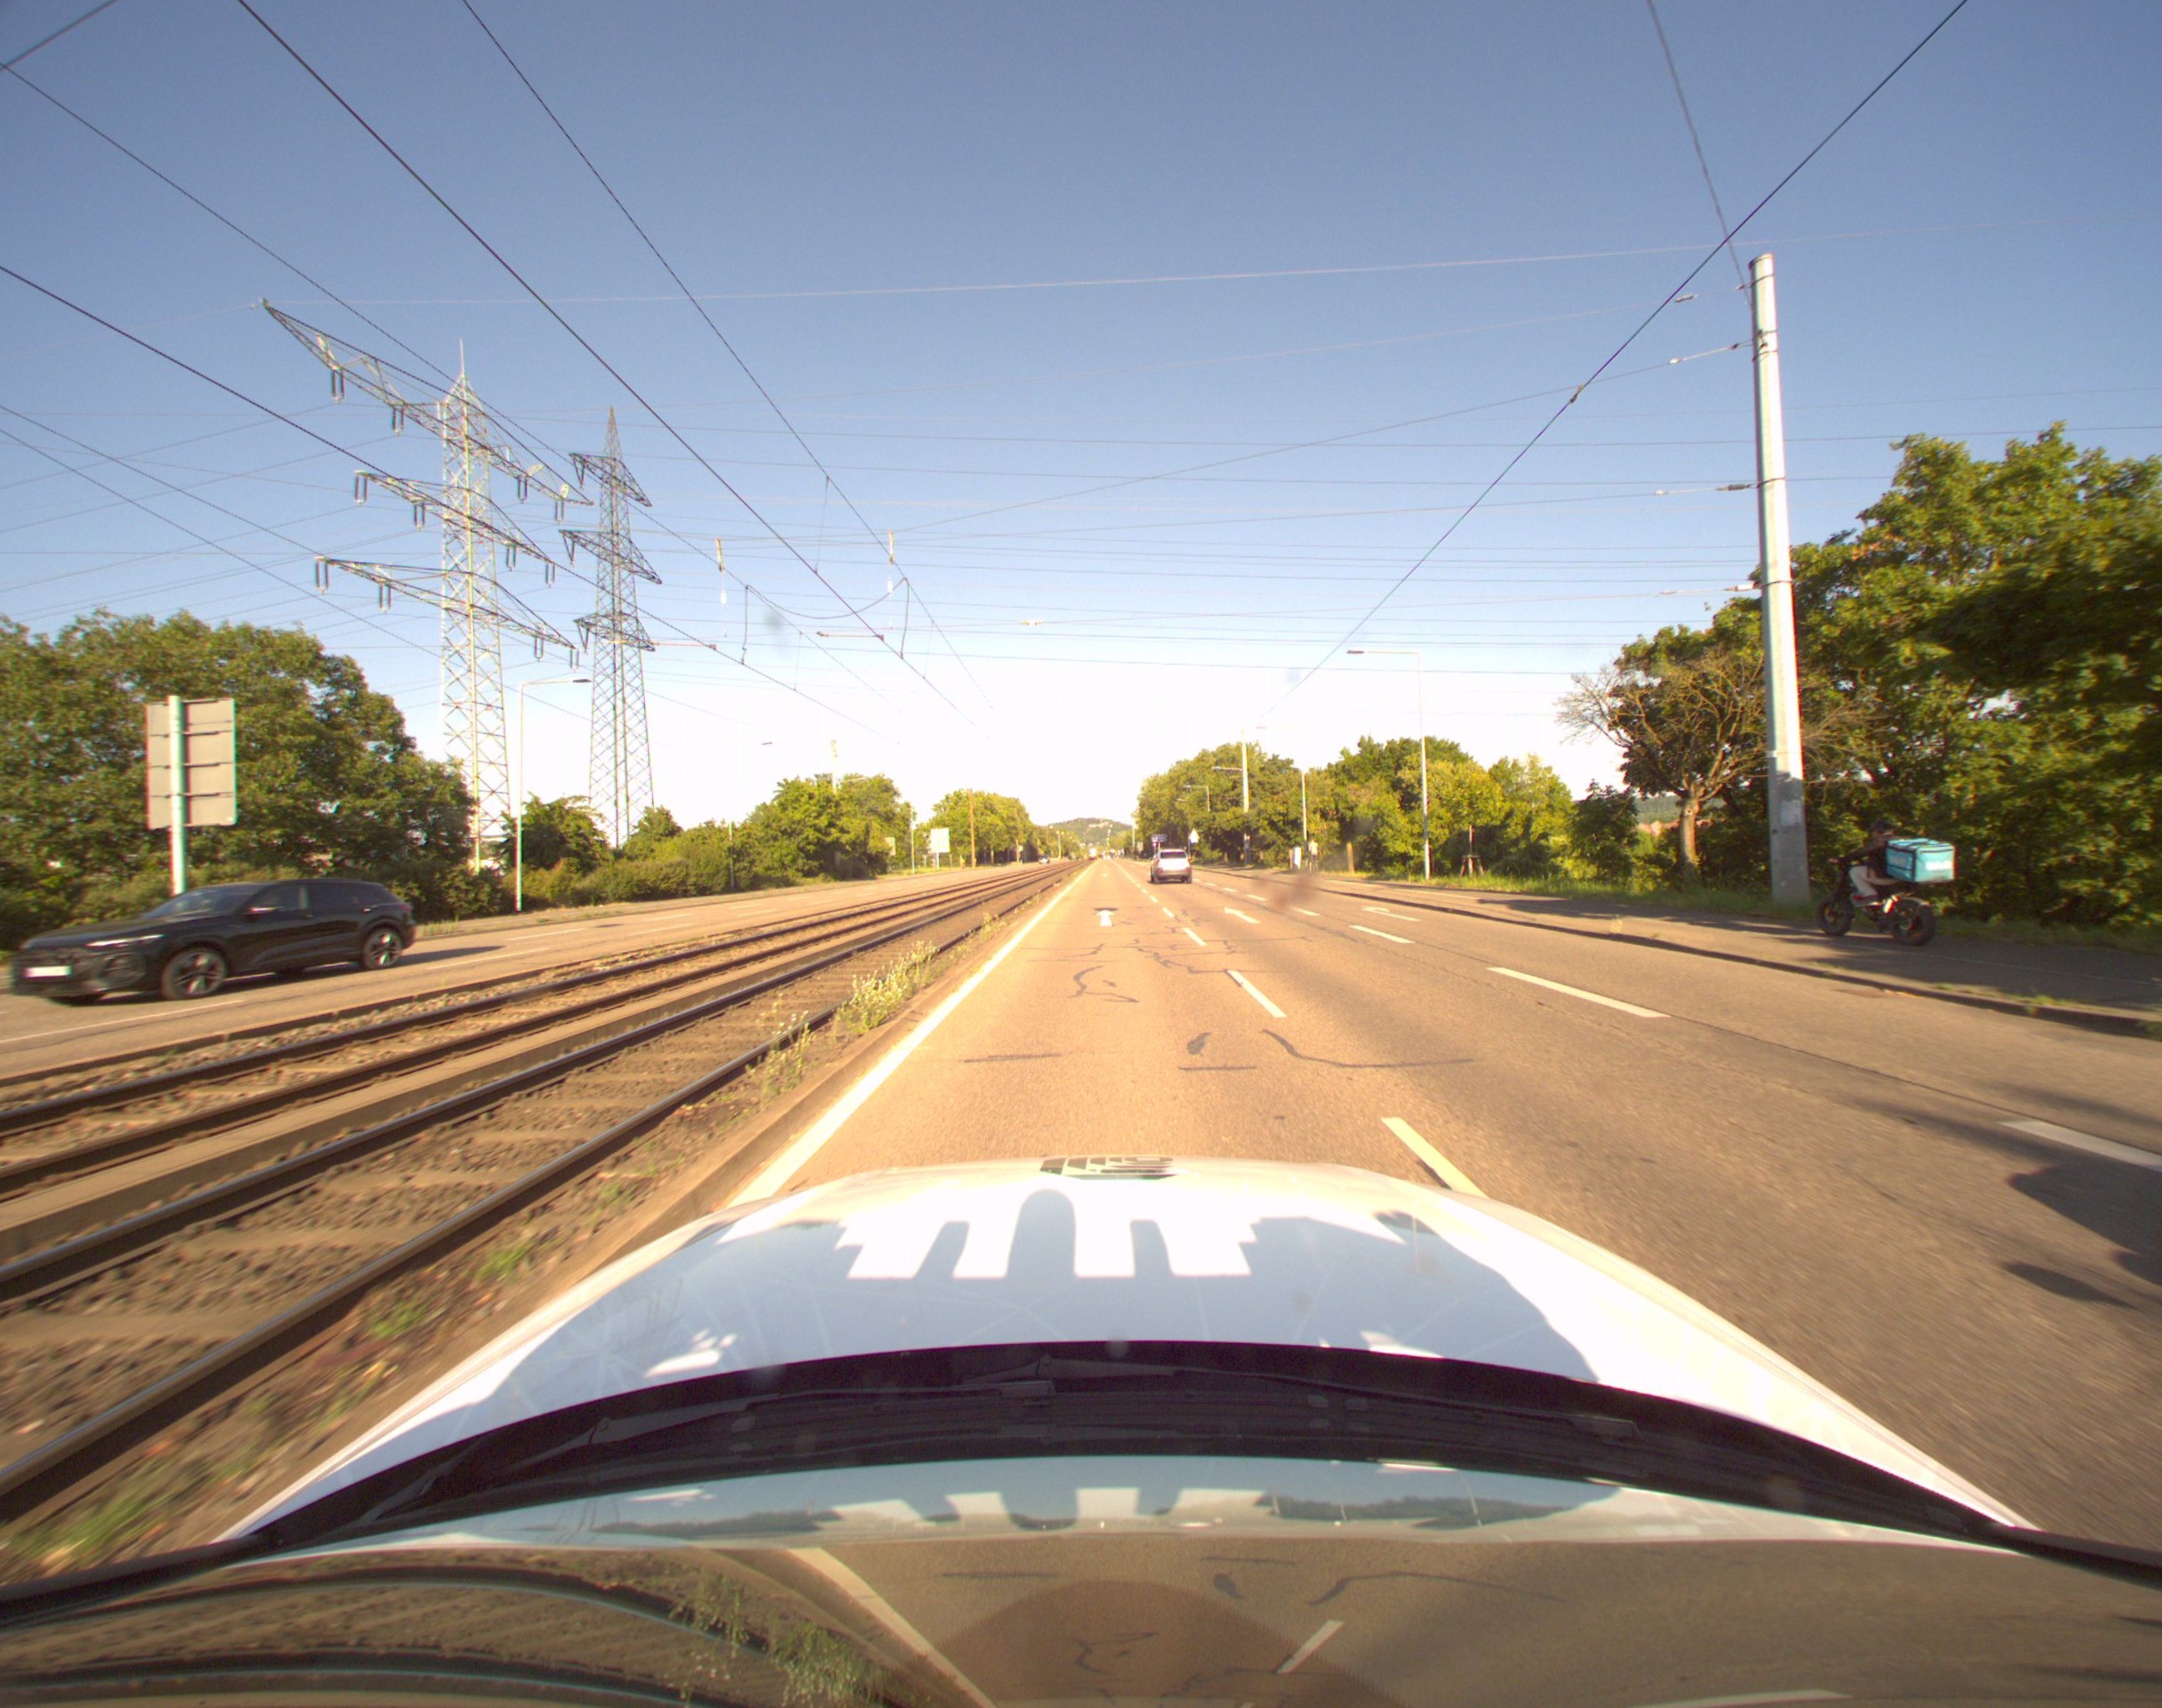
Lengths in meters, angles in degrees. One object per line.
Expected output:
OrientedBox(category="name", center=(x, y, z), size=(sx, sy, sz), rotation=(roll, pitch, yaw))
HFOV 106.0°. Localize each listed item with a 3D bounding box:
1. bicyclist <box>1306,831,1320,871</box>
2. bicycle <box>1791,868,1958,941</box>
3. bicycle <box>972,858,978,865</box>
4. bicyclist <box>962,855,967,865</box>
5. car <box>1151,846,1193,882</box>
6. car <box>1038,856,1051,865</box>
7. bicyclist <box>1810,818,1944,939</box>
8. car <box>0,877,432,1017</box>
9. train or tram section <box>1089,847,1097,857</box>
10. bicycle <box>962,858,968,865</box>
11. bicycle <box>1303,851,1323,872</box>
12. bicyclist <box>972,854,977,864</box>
OrientedBox(category="bicyclist", center=(11.619, -0.153, 40.729), size=(0.525, 2.017, 0.730), rotation=(0, -1, 3))
OrientedBox(category="bicycle", center=(10.544, 0.641, 10.910), size=(0.624, 0.834, 1.635), rotation=(-5, -1, 2))
OrientedBox(category="bicycle", center=(-16.937, 1.219, 129.618), size=(0.588, 1.022, 2.186), rotation=(-2, 0, 1))
OrientedBox(category="bicyclist", center=(-18.112, 0.894, 126.778), size=(0.588, 1.528, 0.906), rotation=(-2, -1, 1))
OrientedBox(category="car", center=(4.504, 0.479, 40.655), size=(1.880, 1.693, 4.261), rotation=(-1, 0, 4))
OrientedBox(category="car", center=(-7.687, 1.333, 171.950), size=(1.985, 1.923, 4.864), rotation=(-2, -1, 3))
OrientedBox(category="bicyclist", center=(10.512, 0.314, 10.803), size=(0.624, 1.471, 1.061), rotation=(-5, -1, 2))
OrientedBox(category="car", center=(-13.130, 1.263, 12.740), size=(1.985, 1.625, 4.687), rotation=(-3, -1, 3))
OrientedBox(category="train or tram section", center=(3.782, -0.557, 255.104), size=(2.302, 3.217, 9.478), rotation=(0, 0, 2))
OrientedBox(category="bicycle", center=(-18.106, 1.165, 126.826), size=(0.588, 1.022, 2.186), rotation=(-2, 0, 1))
OrientedBox(category="bicycle", center=(11.630, 0.376, 40.903), size=(0.525, 1.060, 1.973), rotation=(0, 0, 3))
OrientedBox(category="bicyclist", center=(-16.976, 0.800, 129.514), size=(0.588, 1.611, 0.967), rotation=(-2, -1, 1))
